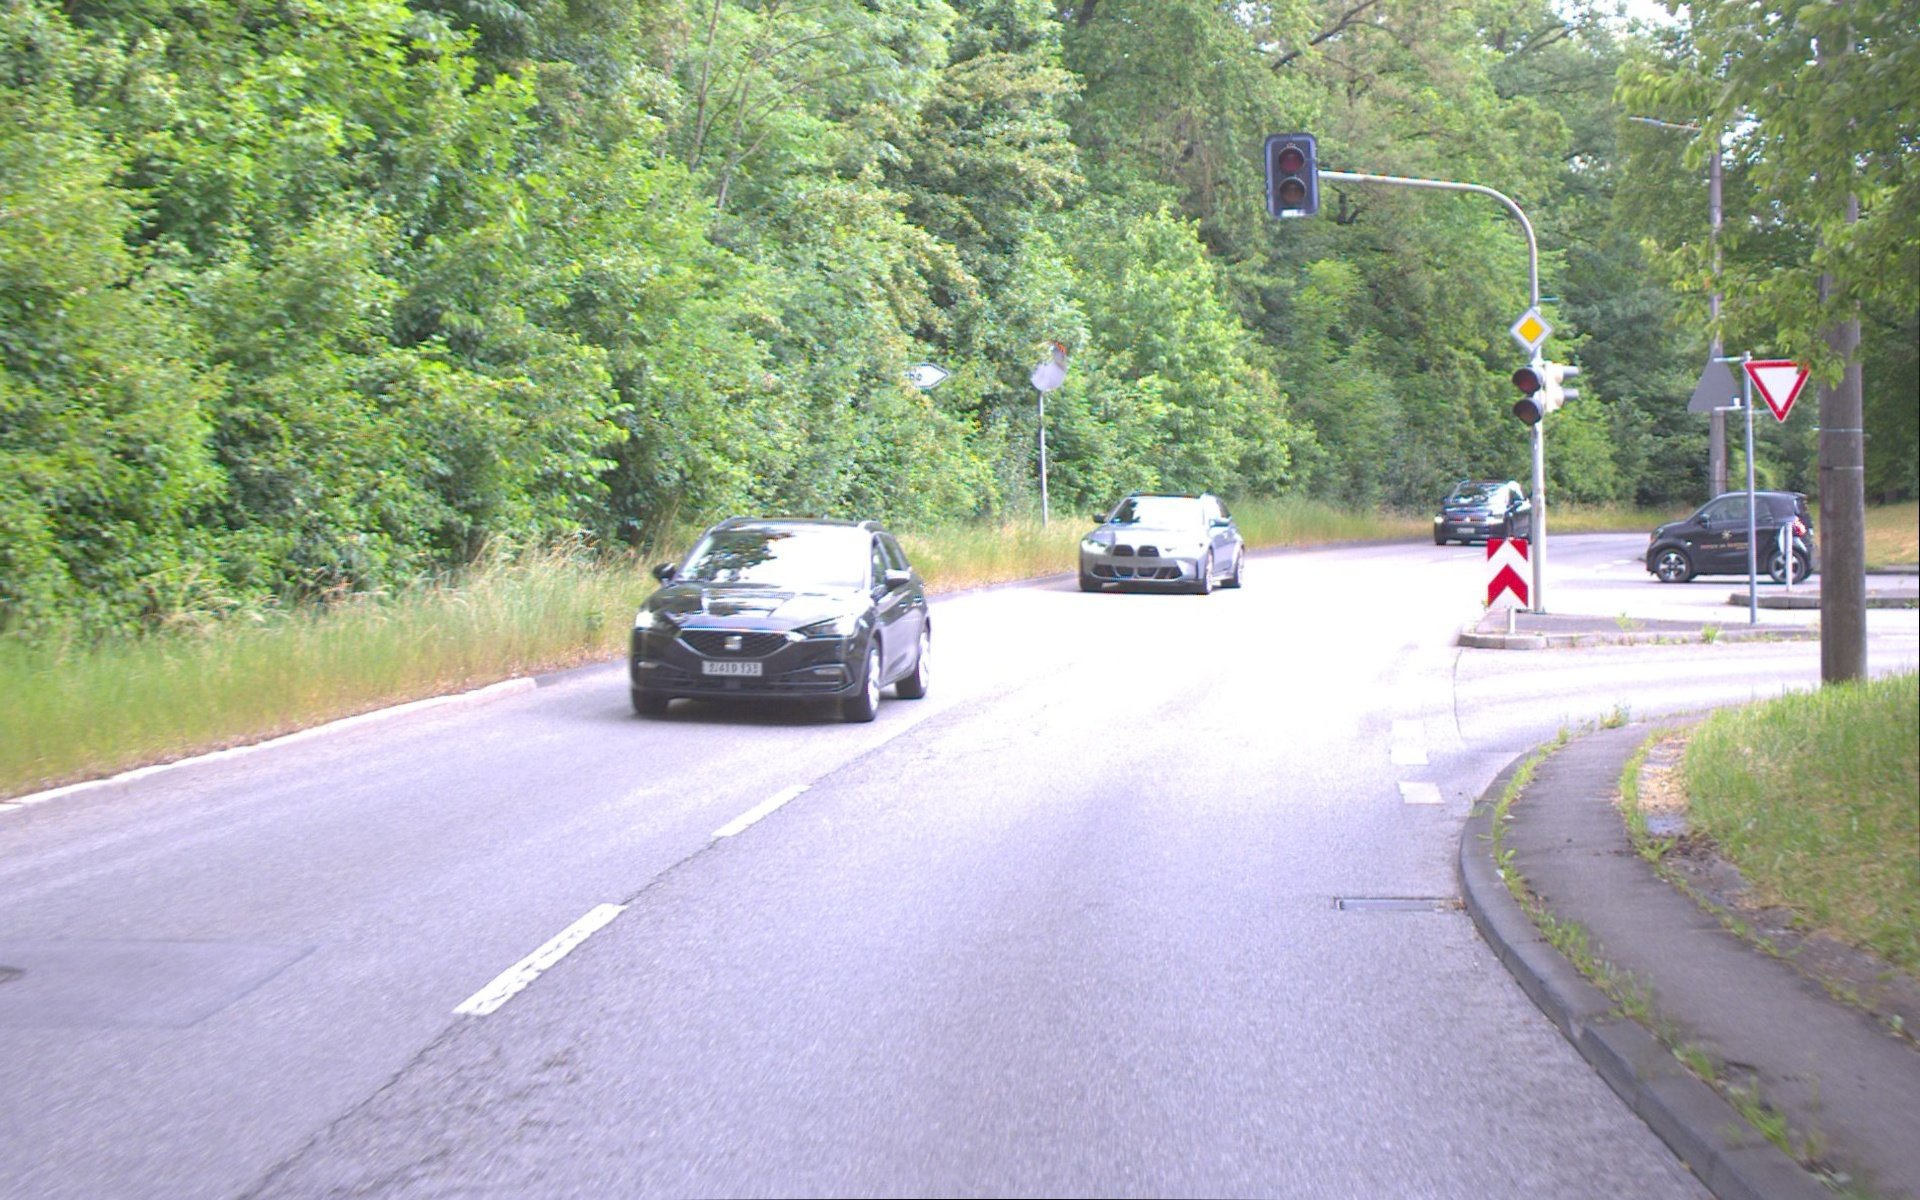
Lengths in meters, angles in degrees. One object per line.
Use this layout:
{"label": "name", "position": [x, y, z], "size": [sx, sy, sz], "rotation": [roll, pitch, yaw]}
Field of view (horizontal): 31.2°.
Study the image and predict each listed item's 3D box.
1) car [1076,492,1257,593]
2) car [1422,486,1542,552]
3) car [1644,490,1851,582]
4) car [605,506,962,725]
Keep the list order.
{"label": "car", "position": [3.136, -0.875, 51.204], "size": [1.899, 1.349, 4.840], "rotation": [3, 2, 13]}
{"label": "car", "position": [12.489, -1.945, 82.032], "size": [1.791, 1.509, 4.837], "rotation": [1, 2, 21]}
{"label": "car", "position": [13.160, -1.074, 57.389], "size": [3.306, 1.489, 1.667], "rotation": [0, 2, 15]}
{"label": "car", "position": [-1.244, 0.041, 26.387], "size": [1.803, 1.429, 4.659], "rotation": [2, 2, 9]}
